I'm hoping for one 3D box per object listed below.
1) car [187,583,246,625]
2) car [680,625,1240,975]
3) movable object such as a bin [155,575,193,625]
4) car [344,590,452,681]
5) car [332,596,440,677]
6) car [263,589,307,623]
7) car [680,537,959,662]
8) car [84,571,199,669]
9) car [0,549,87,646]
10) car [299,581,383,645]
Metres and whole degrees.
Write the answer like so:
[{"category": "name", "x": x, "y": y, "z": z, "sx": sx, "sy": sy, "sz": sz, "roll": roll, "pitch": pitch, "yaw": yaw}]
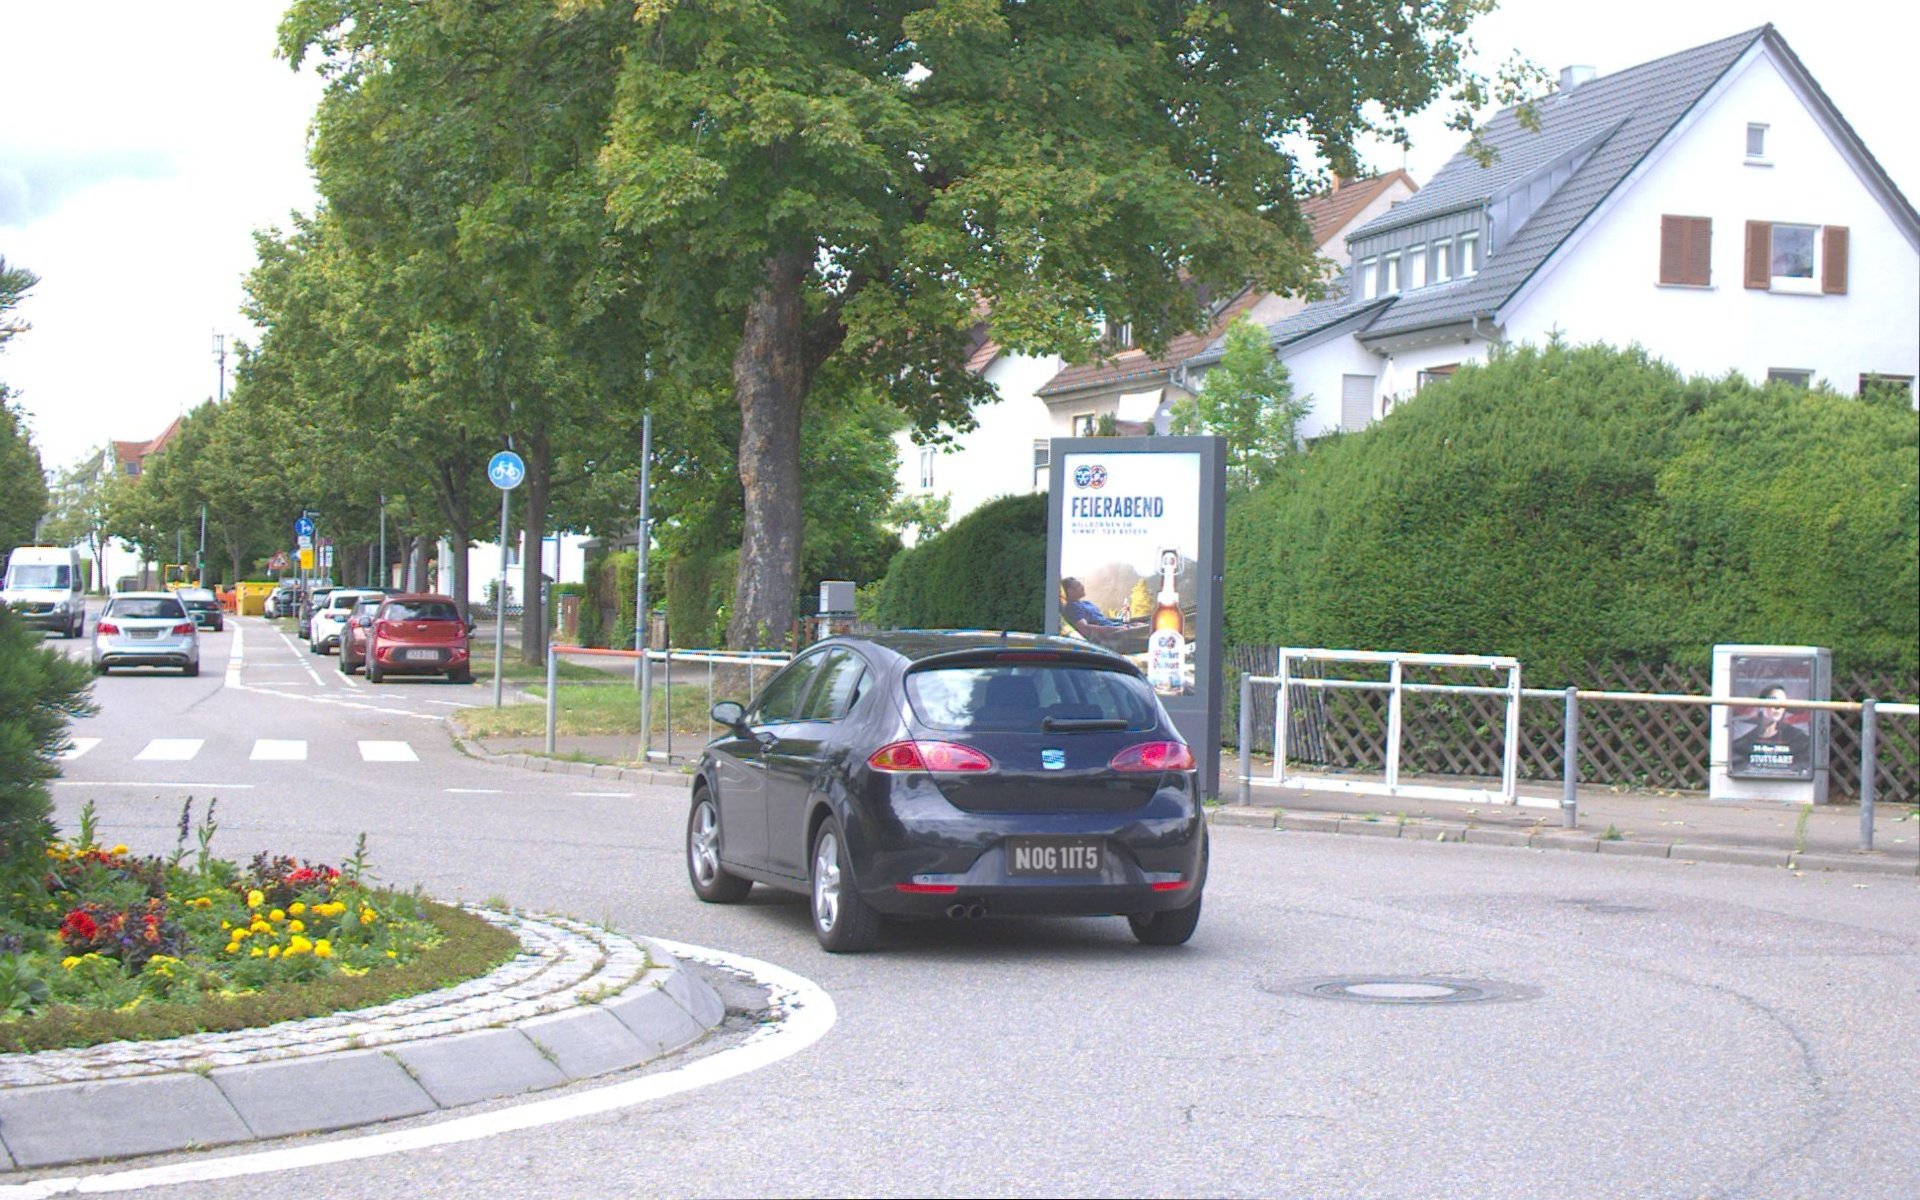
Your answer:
[{"category": "car", "x": -25.005, "y": 0.137, "z": 115.530, "sx": 1.809, "sy": 1.370, "sz": 3.694, "roll": 1, "pitch": 0, "yaw": -14}, {"category": "car", "x": -0.130, "y": 0.864, "z": 16.596, "sx": 1.818, "sy": 1.433, "sz": 3.741, "roll": 0, "pitch": 0, "yaw": -14}, {"category": "movable object such as a bin", "x": -41.128, "y": -0.006, "z": 179.836, "sx": 1.768, "sy": 2.565, "sz": 3.741, "roll": 1, "pitch": 0, "yaw": -14}, {"category": "car", "x": -9.484, "y": 0.600, "z": 57.861, "sx": 1.564, "sy": 1.450, "sz": 3.669, "roll": 1, "pitch": -1, "yaw": -12}, {"category": "car", "x": -10.593, "y": 0.650, "z": 63.301, "sx": 1.652, "sy": 1.411, "sz": 4.178, "roll": 0, "pitch": 0, "yaw": -14}, {"category": "car", "x": -29.350, "y": 0.253, "z": 149.391, "sx": 1.705, "sy": 1.450, "sz": 4.618, "roll": 1, "pitch": 0, "yaw": -13}, {"category": "car", "x": -3.065, "y": -0.005, "z": 74.841, "sx": 5.711, "sy": 2.583, "sz": 1.998, "roll": 1, "pitch": 1, "yaw": -16}, {"category": "car", "x": -14.574, "y": 0.334, "z": 61.089, "sx": 1.905, "sy": 1.680, "sz": 3.741, "roll": 0, "pitch": 0, "yaw": -14}, {"category": "car", "x": -26.277, "y": -0.092, "z": 98.503, "sx": 2.018, "sy": 2.665, "sz": 5.807, "roll": 1, "pitch": 0, "yaw": -10}, {"category": "car", "x": -14.246, "y": 0.274, "z": 79.014, "sx": 1.652, "sy": 1.411, "sz": 4.178, "roll": 0, "pitch": 0, "yaw": -14}]
